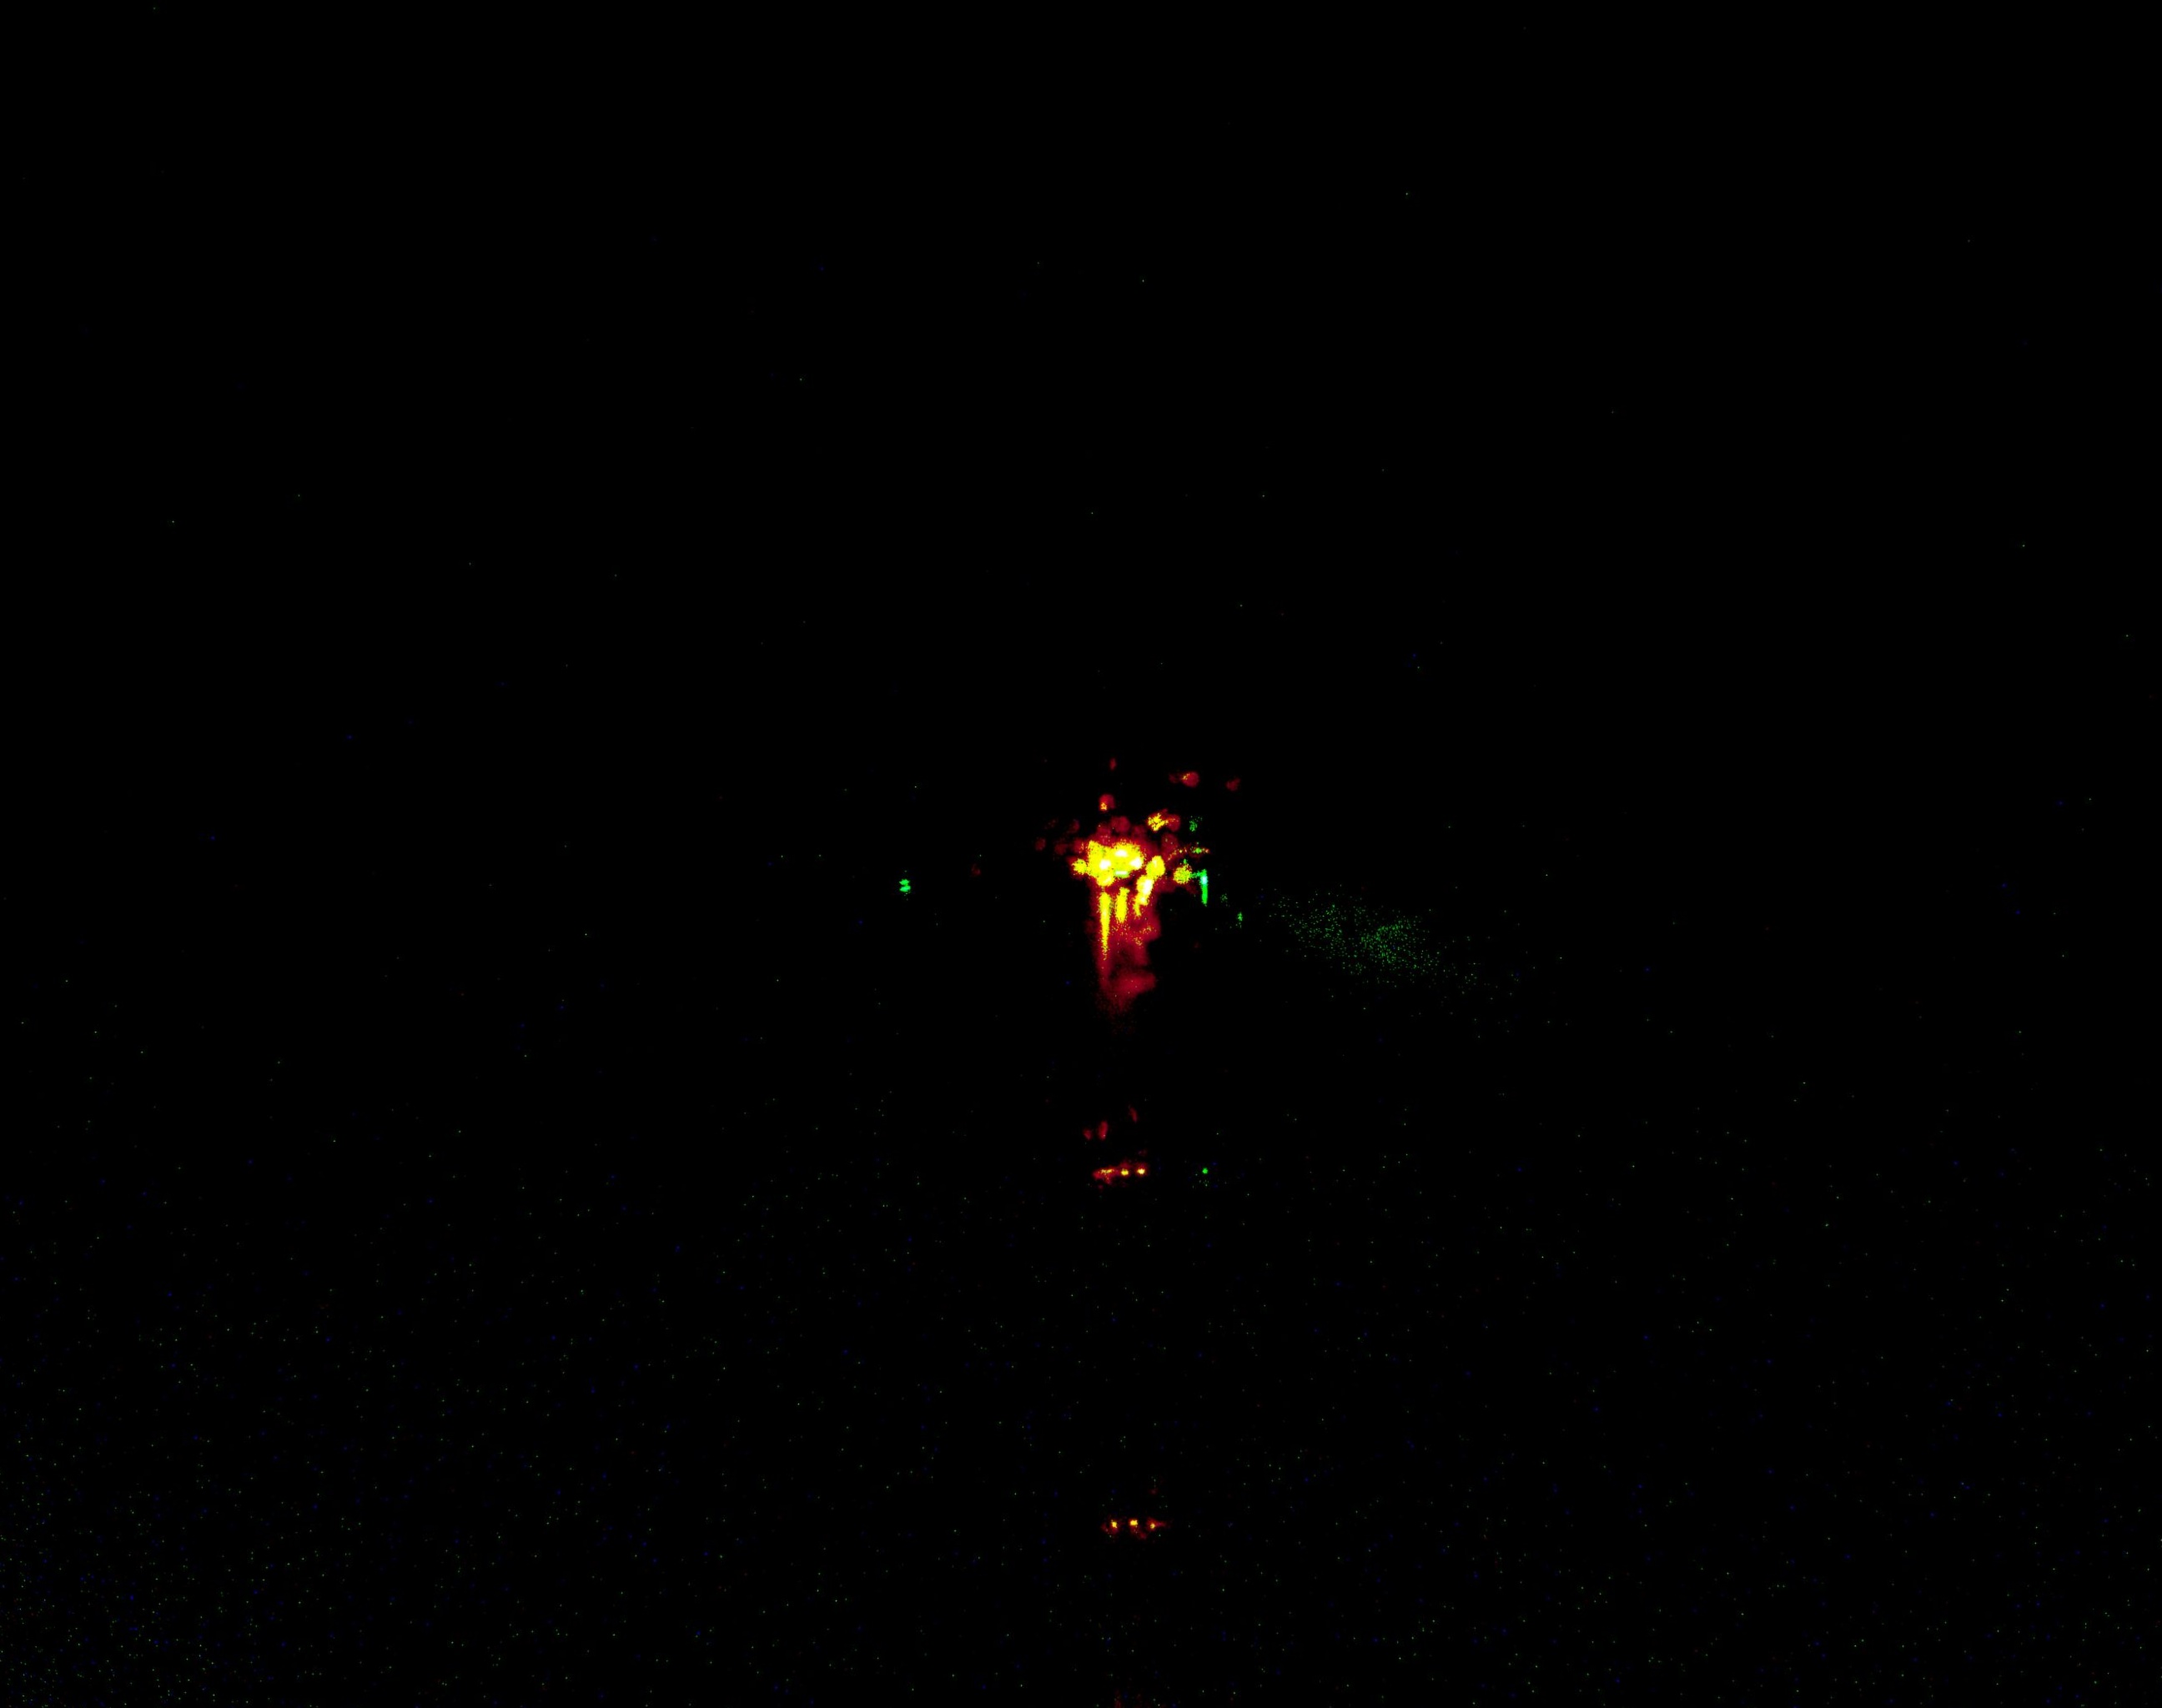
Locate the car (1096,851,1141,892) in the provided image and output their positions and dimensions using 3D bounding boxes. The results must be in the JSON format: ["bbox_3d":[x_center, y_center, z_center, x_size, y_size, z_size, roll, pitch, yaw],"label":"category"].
[{"bbox_3d":[1.659,0.737,35.490,1.794,1.628,3.618,-2,0,3],"label":"car"}]
